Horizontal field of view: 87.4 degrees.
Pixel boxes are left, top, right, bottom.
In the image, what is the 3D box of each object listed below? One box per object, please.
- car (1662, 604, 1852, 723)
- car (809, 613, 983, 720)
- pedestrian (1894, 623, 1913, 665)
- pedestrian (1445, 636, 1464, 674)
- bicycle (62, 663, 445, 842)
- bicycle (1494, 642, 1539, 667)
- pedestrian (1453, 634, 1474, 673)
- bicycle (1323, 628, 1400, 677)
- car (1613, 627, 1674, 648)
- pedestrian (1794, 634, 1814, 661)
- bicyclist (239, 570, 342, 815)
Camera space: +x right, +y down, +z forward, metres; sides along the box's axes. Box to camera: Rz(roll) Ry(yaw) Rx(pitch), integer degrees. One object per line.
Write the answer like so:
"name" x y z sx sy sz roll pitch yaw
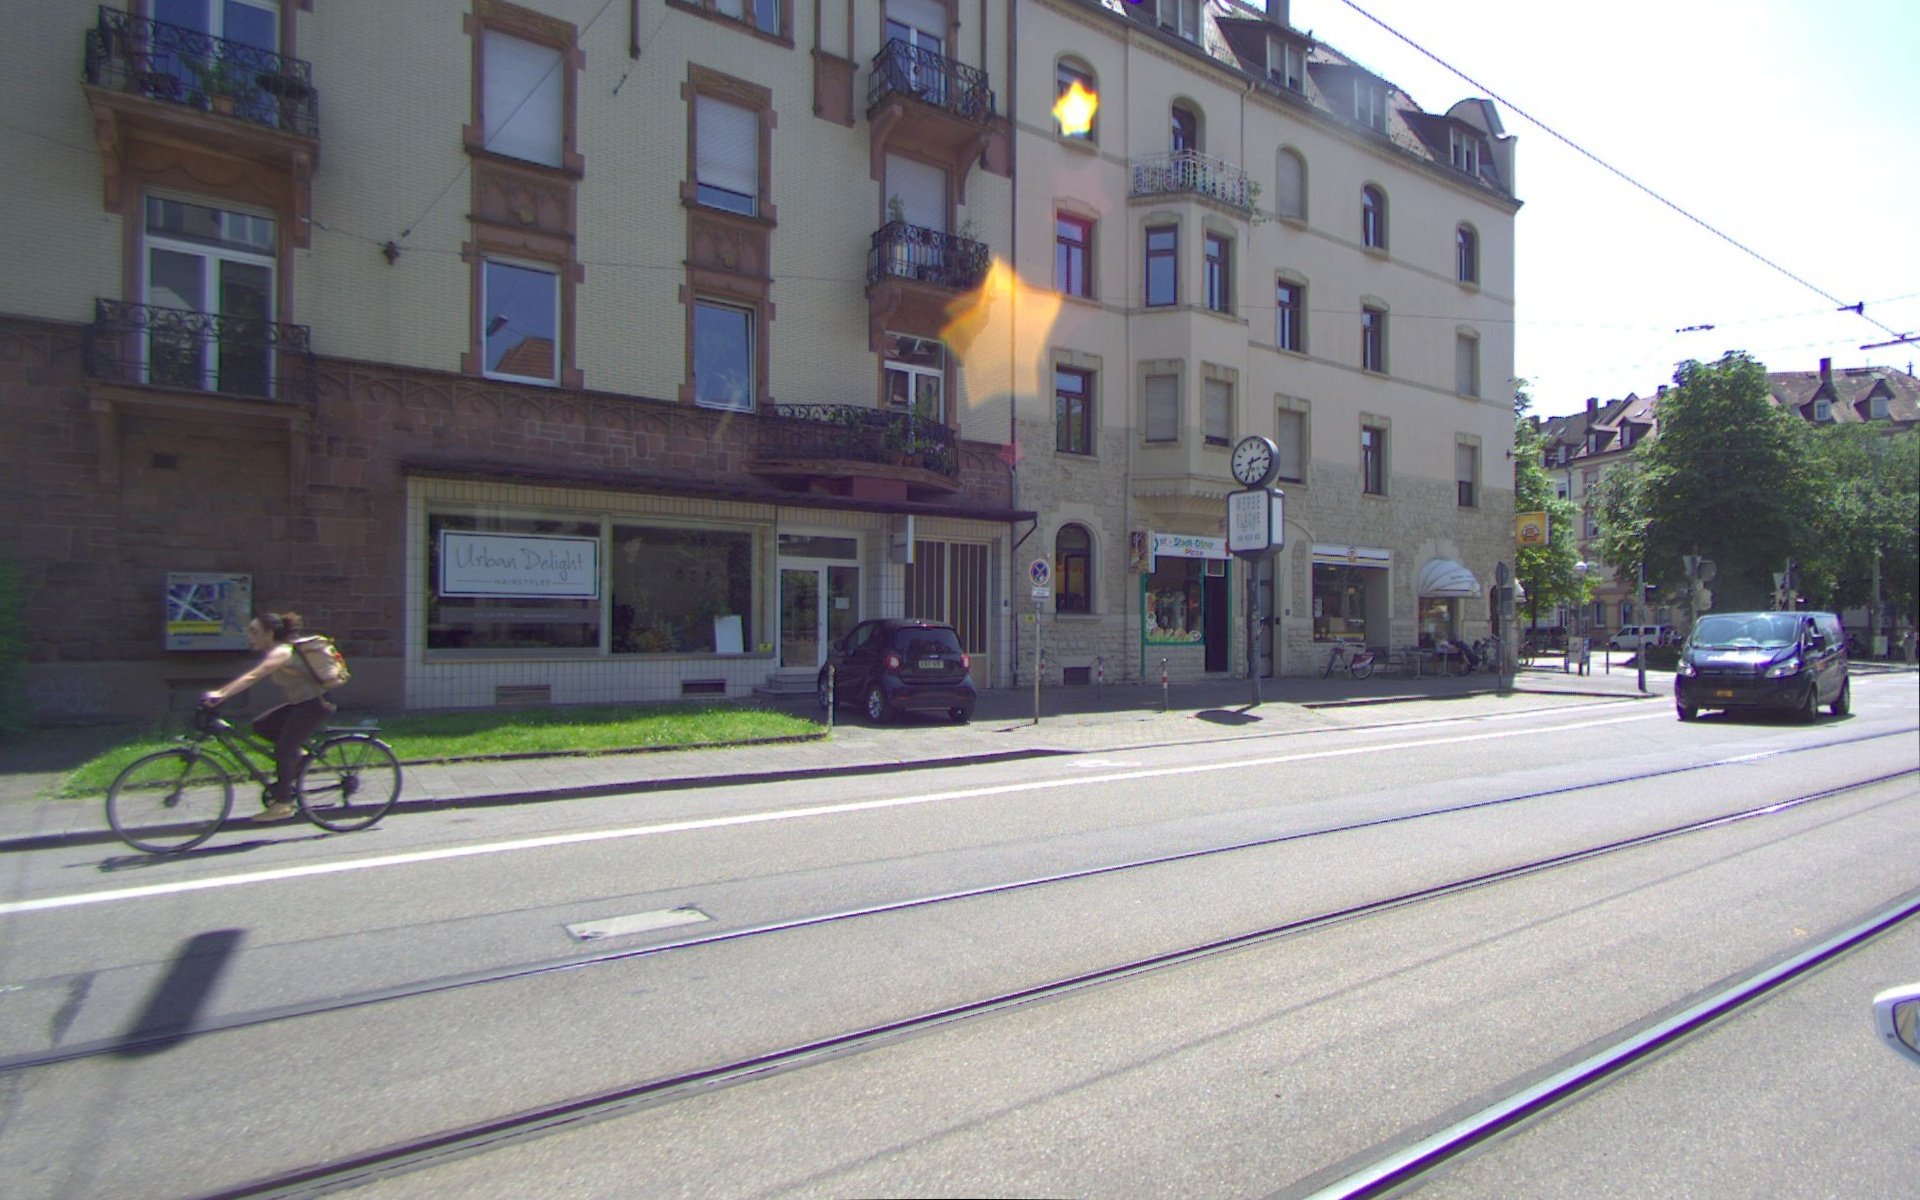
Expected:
"car" 15.071 1.171 18.908 4.783 1.963 1.829 3 -4 -40
"car" -1.144 1.002 16.394 1.512 1.491 3.338 1 0 -30
"pedestrian" 44.019 2.044 46.846 0.488 1.904 0.508 2 -1 -29
"pedestrian" 14.627 1.631 29.713 0.402 1.103 0.352 2 -1 -37
"bicycle" -4.987 1.021 7.274 2.164 1.088 0.640 2 -2 -35
"bicycle" 23.311 2.275 42.114 1.639 0.987 0.290 2 -1 8
"pedestrian" 15.213 1.606 30.338 0.402 1.163 0.402 2 -1 -37
"bicycle" 10.798 1.416 27.006 2.045 1.241 0.454 2 -1 -15
"car" 50.187 2.726 73.849 1.514 1.461 3.735 2 -1 -9
"pedestrian" 40.958 2.298 48.750 0.539 1.272 0.646 1 -1 16
"bicyclist" -4.881 0.645 7.340 0.573 1.685 0.606 1 -2 -34
